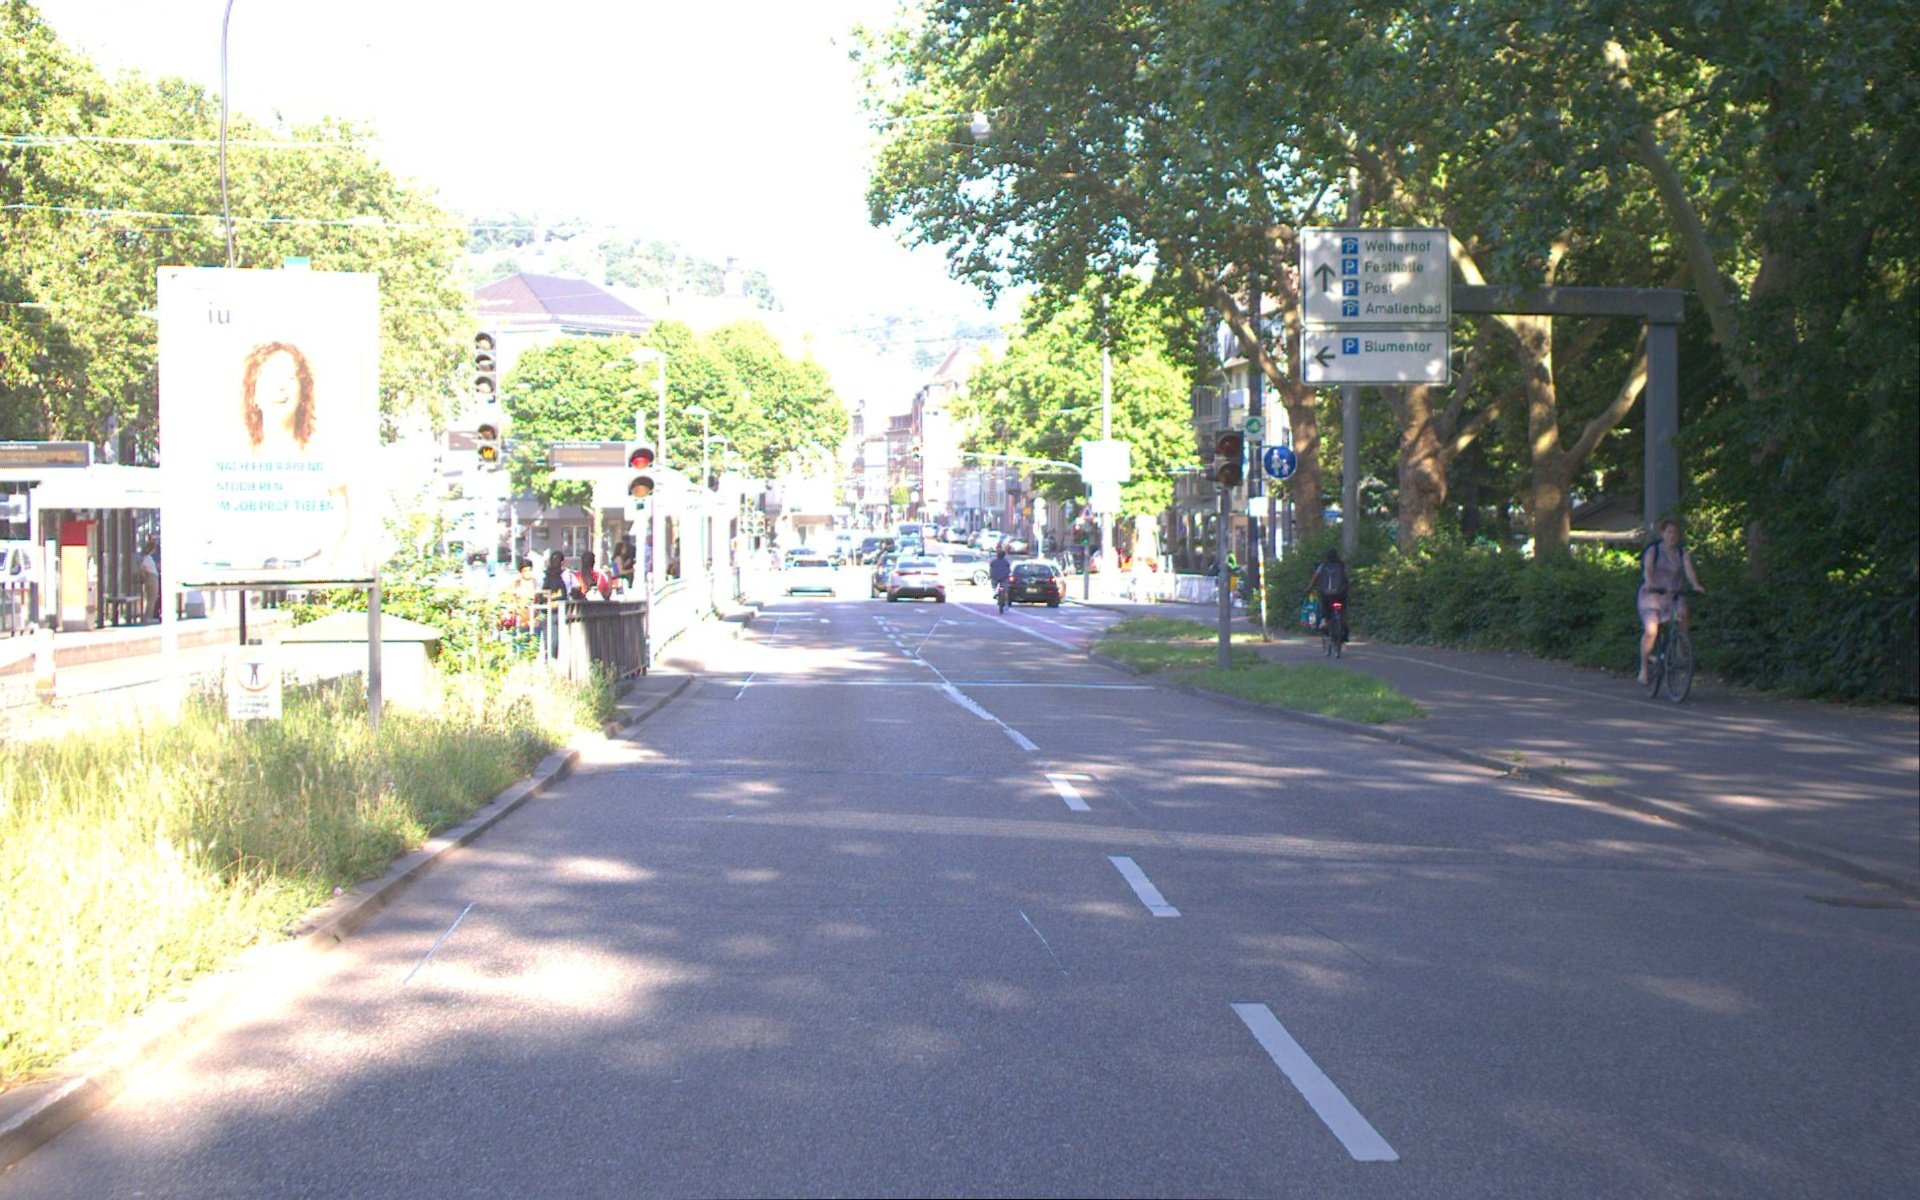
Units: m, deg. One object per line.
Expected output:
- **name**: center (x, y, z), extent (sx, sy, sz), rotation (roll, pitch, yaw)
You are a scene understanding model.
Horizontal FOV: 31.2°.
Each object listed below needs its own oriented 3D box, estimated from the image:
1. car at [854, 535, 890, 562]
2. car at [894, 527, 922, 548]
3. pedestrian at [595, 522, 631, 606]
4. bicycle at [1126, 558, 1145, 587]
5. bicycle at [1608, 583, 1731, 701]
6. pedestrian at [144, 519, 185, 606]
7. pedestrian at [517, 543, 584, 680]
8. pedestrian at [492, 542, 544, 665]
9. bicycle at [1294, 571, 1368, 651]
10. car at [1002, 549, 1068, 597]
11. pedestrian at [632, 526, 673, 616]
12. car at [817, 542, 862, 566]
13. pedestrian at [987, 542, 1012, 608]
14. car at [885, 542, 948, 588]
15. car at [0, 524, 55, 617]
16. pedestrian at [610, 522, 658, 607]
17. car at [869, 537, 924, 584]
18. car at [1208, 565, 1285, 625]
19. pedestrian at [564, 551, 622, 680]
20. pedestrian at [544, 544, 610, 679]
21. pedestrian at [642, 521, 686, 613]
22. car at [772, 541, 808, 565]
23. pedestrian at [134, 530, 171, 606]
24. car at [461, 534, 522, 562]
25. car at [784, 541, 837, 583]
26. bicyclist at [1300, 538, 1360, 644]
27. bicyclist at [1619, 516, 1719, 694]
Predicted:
- **car**: center (-5.927, -3.462, 232.193), extent (1.795, 1.820, 3.999), rotation (0, 1, 8)
- **car**: center (-3.724, -4.511, 246.876), extent (1.794, 1.505, 4.001), rotation (0, 1, -4)
- **pedestrian**: center (-6.473, -0.673, 64.148), extent (0.588, 1.561, 0.650), rotation (1, 1, -2)
- **bicycle**: center (6.391, -1.000, 125.548), extent (0.498, 1.071, 1.800), rotation (1, 0, -3)
- **bicycle**: center (6.959, 0.397, 33.797), extent (0.699, 1.104, 1.930), rotation (0, 1, -4)
- **pedestrian**: center (-16.394, -0.774, 70.849), extent (0.648, 1.766, 0.650), rotation (1, 0, 0)
- **pedestrian**: center (-4.772, 0.129, 40.061), extent (0.520, 1.563, 0.507), rotation (-2, 1, 28)
- **pedestrian**: center (-5.348, 0.042, 41.647), extent (0.520, 1.467, 0.514), rotation (-2, 1, -1)
- **bicycle**: center (5.298, 0.140, 49.185), extent (0.766, 1.104, 1.800), rotation (0, 1, -3)
- **car**: center (2.375, -0.889, 109.928), extent (1.800, 1.434, 4.046), rotation (1, 1, -3)
- **pedestrian**: center (-6.381, -0.603, 71.342), extent (0.651, 1.835, 0.710), rotation (2, 1, 7)
- **car**: center (-7.867, -2.991, 224.687), extent (1.795, 1.505, 3.997), rotation (0, 0, 16)
- **pedestrian**: center (1.097, -0.702, 96.496), extent (0.657, 1.864, 0.678), rotation (0, 1, -3)
- **car**: center (-1.484, -1.193, 114.886), extent (1.929, 1.467, 4.855), rotation (0, 1, -3)
- **car**: center (-22.688, -0.659, 80.258), extent (2.067, 2.117, 5.091), rotation (-2, 1, -4)
- **pedestrian**: center (-6.612, -0.720, 69.731), extent (0.651, 1.716, 0.710), rotation (1, 1, -38)
- **car**: center (-2.267, -1.417, 122.196), extent (1.800, 1.632, 4.046), rotation (0, 1, -3)
- **car**: center (9.403, -0.180, 113.267), extent (1.794, 1.891, 4.360), rotation (1, 0, -5)
- **pedestrian**: center (-4.396, 0.180, 41.191), extent (0.589, 1.514, 0.514), rotation (-2, 1, -2)
- **pedestrian**: center (-4.509, 0.133, 40.477), extent (0.520, 1.563, 0.507), rotation (-2, 1, 28)
- **pedestrian**: center (-5.537, -0.615, 64.264), extent (0.742, 1.688, 0.791), rotation (1, 1, -2)
- **car**: center (-10.673, -2.953, 216.520), extent (1.794, 1.505, 3.999), rotation (0, 0, 4)
- **pedestrian**: center (-16.473, -0.659, 70.167), extent (0.592, 1.538, 0.627), rotation (1, 0, -2)
- **car**: center (-27.362, -3.044, 201.045), extent (1.923, 1.643, 4.177), rotation (0, 1, 18)
- **car**: center (-5.399, -1.383, 123.822), extent (1.808, 1.447, 4.001), rotation (1, 1, -3)
- **bicyclist**: center (5.290, -0.131, 49.172), extent (0.766, 1.507, 0.650), rotation (0, 1, -3)
- **bicyclist**: center (6.961, 0.037, 33.791), extent (0.699, 1.722, 1.080), rotation (0, 1, -4)
